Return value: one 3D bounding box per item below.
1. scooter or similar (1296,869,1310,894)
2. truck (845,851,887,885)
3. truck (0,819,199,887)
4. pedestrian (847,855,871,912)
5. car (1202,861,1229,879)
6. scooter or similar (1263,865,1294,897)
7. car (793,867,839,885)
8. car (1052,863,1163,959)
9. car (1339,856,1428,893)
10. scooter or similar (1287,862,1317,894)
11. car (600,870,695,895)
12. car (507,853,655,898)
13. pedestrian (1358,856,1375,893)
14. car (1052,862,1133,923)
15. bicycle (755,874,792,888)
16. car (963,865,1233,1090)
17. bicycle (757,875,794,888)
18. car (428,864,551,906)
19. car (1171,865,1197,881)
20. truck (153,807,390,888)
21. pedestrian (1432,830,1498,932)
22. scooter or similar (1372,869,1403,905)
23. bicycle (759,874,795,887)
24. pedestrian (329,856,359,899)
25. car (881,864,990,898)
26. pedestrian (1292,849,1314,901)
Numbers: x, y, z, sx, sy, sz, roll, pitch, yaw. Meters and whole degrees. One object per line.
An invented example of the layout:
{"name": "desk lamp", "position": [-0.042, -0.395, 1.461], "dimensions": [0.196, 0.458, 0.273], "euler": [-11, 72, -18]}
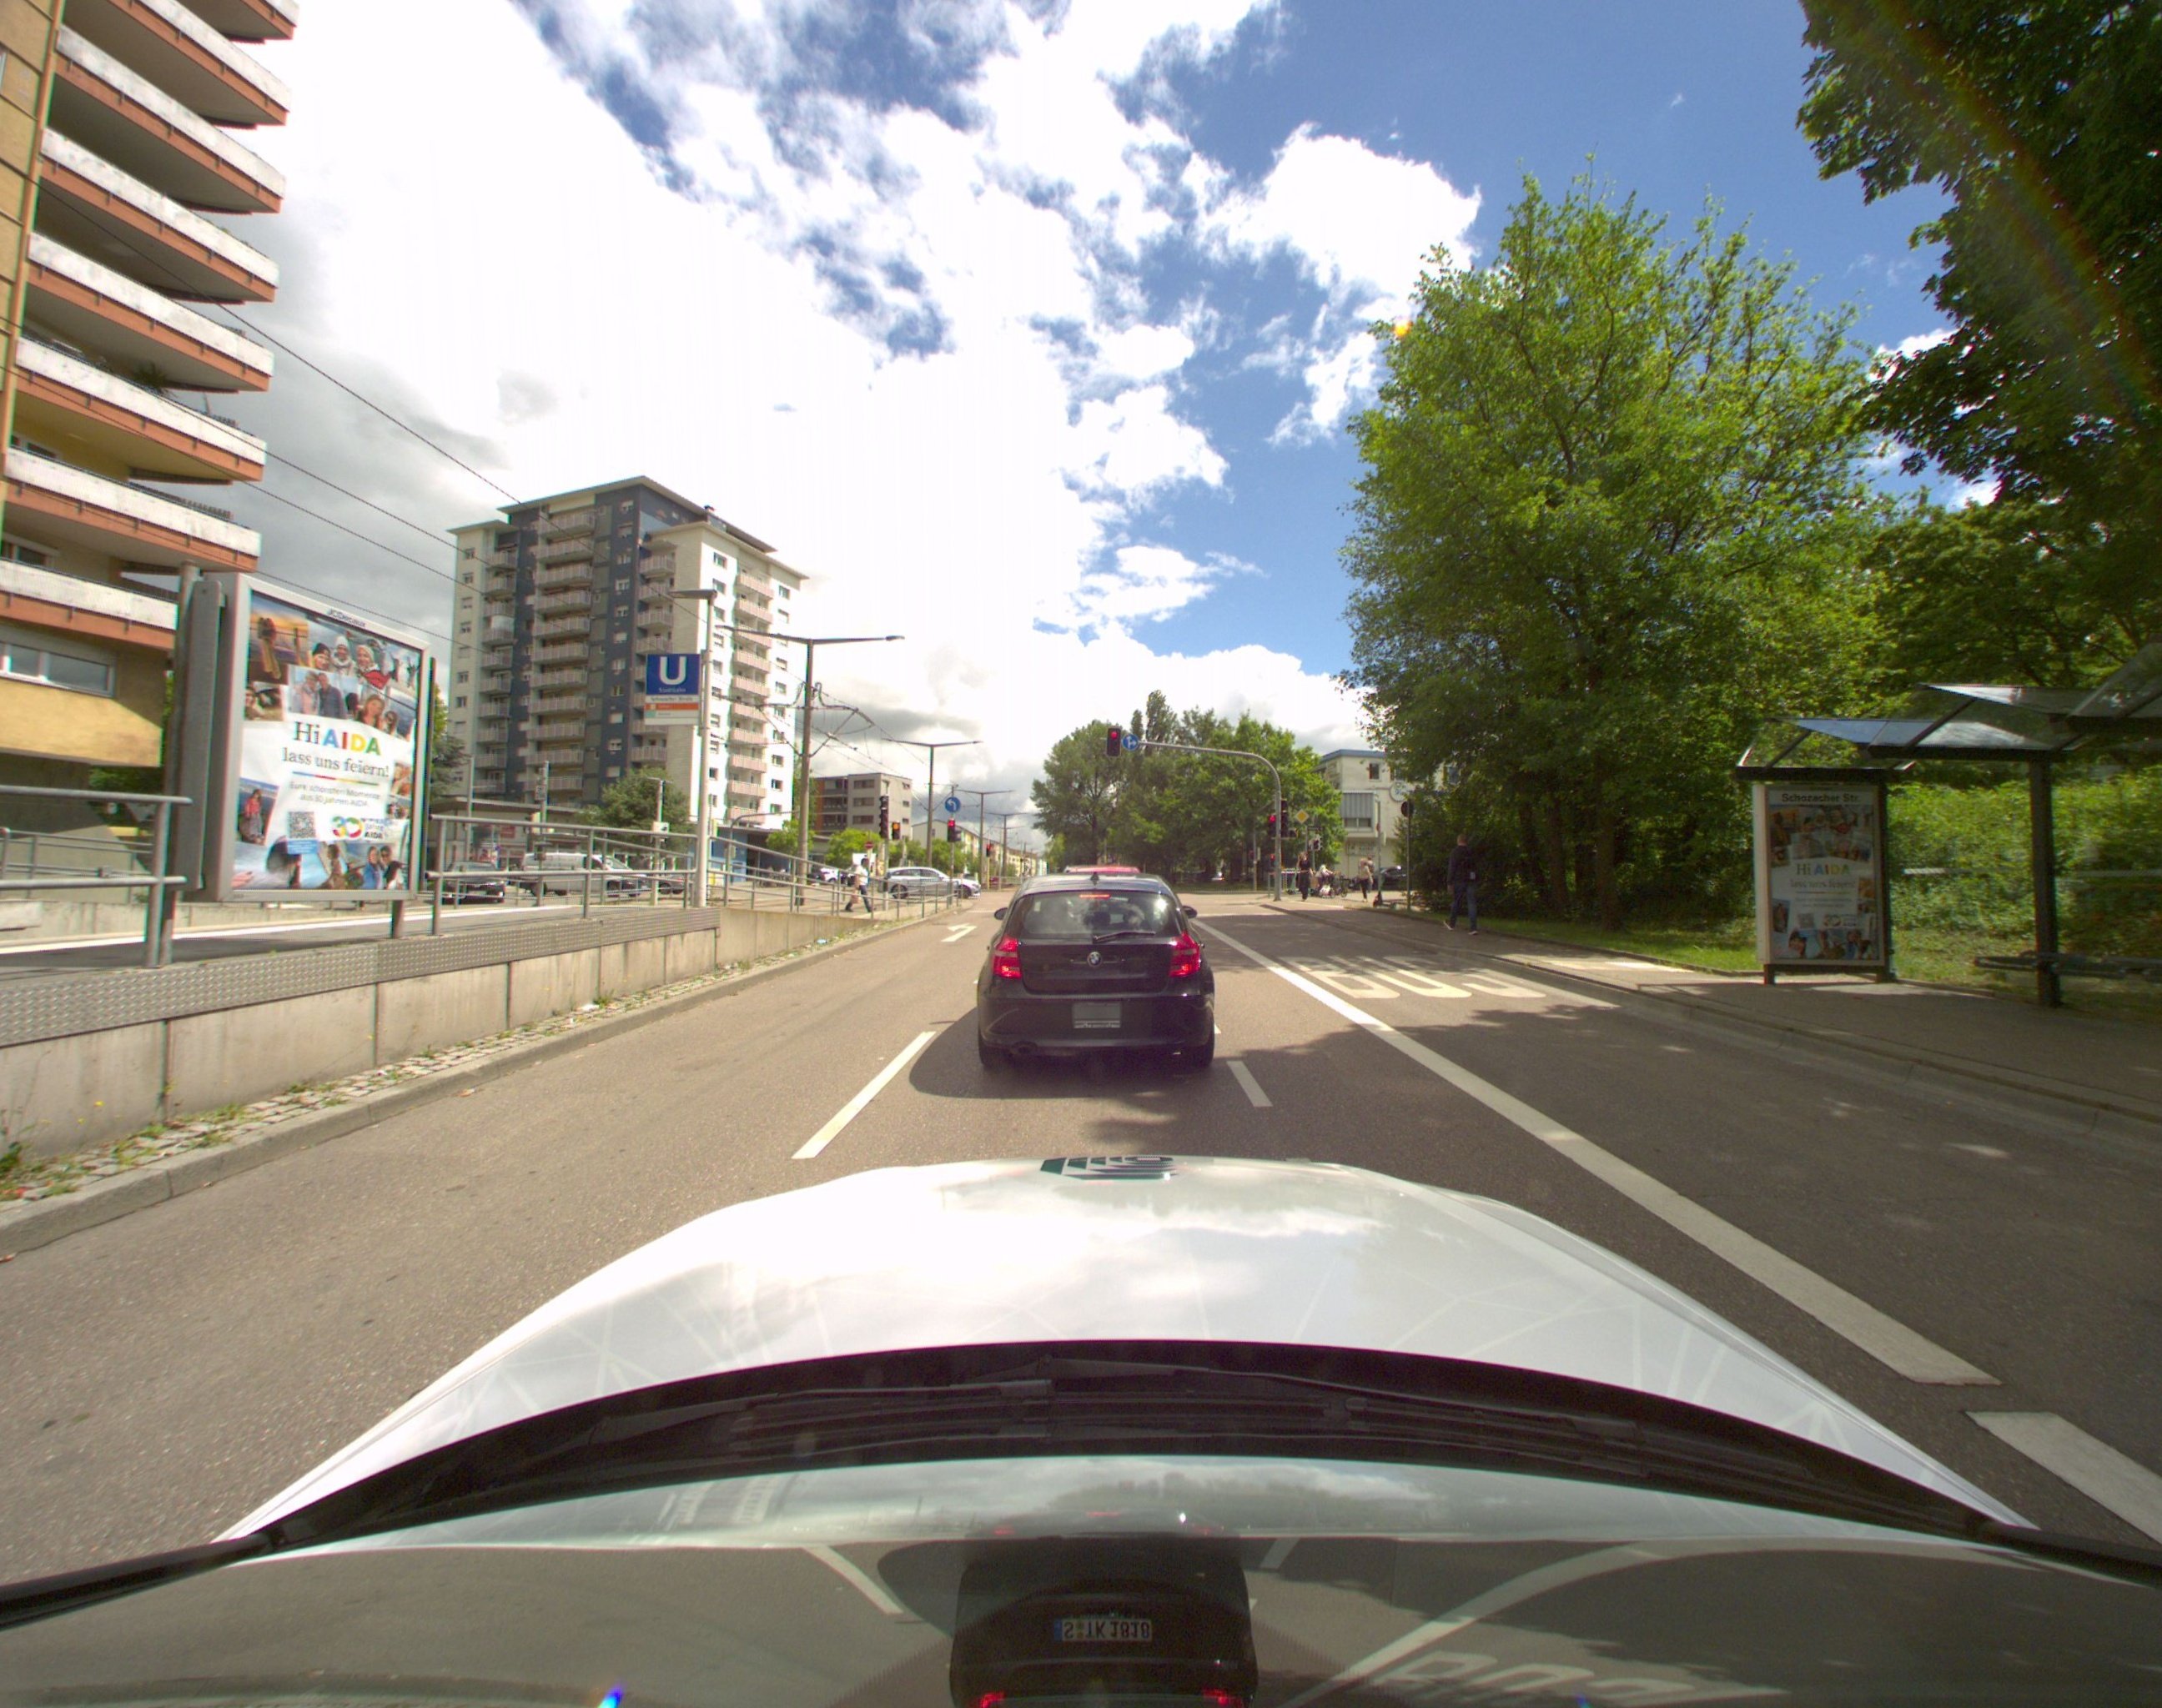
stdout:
{"name": "scooter or similar", "position": [9.484, 1.160, 34.803], "dimensions": [0.543, 1.064, 1.267], "euler": [0, -1, 16]}
{"name": "truck", "position": [-20.541, 1.357, 78.100], "dimensions": [2.275, 3.118, 7.312], "euler": [0, -1, -2]}
{"name": "truck", "position": [-34.572, -0.020, 28.757], "dimensions": [4.262, 2.290, 2.352], "euler": [0, -1, 2]}
{"name": "pedestrian", "position": [-6.827, 0.902, 25.098], "dimensions": [0.688, 1.734, 0.684], "euler": [0, -1, -14]}
{"name": "car", "position": [13.830, 1.658, 84.178], "dimensions": [1.724, 1.871, 3.990], "euler": [0, -1, -7]}
{"name": "scooter or similar", "position": [7.662, 1.041, 31.657], "dimensions": [1.105, 1.235, 0.540], "euler": [0, -1, 4]}
{"name": "car", "position": [-25.540, 2.094, 78.608], "dimensions": [3.947, 1.647, 1.636], "euler": [1, -1, -45]}
{"name": "car", "position": [0.448, 0.859, 13.743], "dimensions": [1.632, 1.400, 3.421], "euler": [0, -1, 2]}
{"name": "car", "position": [17.895, 1.186, 48.282], "dimensions": [4.530, 2.014, 1.995], "euler": [-2, -1, -7]}
{"name": "scooter or similar", "position": [8.912, 0.972, 32.865], "dimensions": [1.143, 1.272, 0.557], "euler": [0, -1, 11]}
{"name": "car", "position": [-24.537, 1.608, 46.182], "dimensions": [4.437, 1.329, 1.676], "euler": [0, -1, -6]}
{"name": "car", "position": [-21.903, 0.927, 35.841], "dimensions": [5.156, 1.893, 1.999], "euler": [0, -1, -2]}
{"name": "pedestrian", "position": [13.241, 0.929, 37.718], "dimensions": [0.651, 1.713, 0.465], "euler": [-1, -1, 31]}
{"name": "car", "position": [0.337, 0.923, 21.220], "dimensions": [1.893, 1.422, 4.540], "euler": [0, -1, 2]}
{"name": "bicycle", "position": [-24.151, 2.133, 63.975], "dimensions": [2.570, 1.009, 0.749], "euler": [2, -3, -27]}
{"name": "car", "position": [0.157, 0.803, 6.843], "dimensions": [1.694, 1.400, 3.421], "euler": [0, -1, 2]}
{"name": "bicycle", "position": [-23.682, 2.151, 63.193], "dimensions": [2.570, 1.009, 0.749], "euler": [2, -3, -27]}
{"name": "car", "position": [-21.437, 1.078, 29.729], "dimensions": [1.573, 1.405, 3.866], "euler": [-1, -1, 2]}
{"name": "car", "position": [11.428, 2.085, 90.566], "dimensions": [1.862, 1.662, 3.987], "euler": [0, -1, -9]}
{"name": "truck", "position": [-34.911, -0.286, 35.365], "dimensions": [7.257, 3.348, 2.603], "euler": [0, -1, -5]}
{"name": "pedestrian", "position": [7.322, 0.507, 15.577], "dimensions": [0.792, 1.876, 1.014], "euler": [0, -1, 1]}
{"name": "scooter or similar", "position": [10.687, 1.139, 28.415], "dimensions": [0.887, 1.230, 0.454], "euler": [0, -1, -1]}
{"name": "bicycle", "position": [-24.274, 2.142, 65.079], "dimensions": [2.570, 1.009, 0.749], "euler": [2, -3, -27]}
{"name": "pedestrian", "position": [-24.791, 0.785, 27.410], "dimensions": [0.494, 1.440, 0.551], "euler": [-1, -1, 12]}
{"name": "car", "position": [-6.594, 1.203, 37.414], "dimensions": [4.784, 1.522, 1.996], "euler": [0, -1, -6]}
{"name": "pedestrian", "position": [8.065, 0.747, 29.562], "dimensions": [0.641, 1.876, 0.512], "euler": [1, -1, -40]}
